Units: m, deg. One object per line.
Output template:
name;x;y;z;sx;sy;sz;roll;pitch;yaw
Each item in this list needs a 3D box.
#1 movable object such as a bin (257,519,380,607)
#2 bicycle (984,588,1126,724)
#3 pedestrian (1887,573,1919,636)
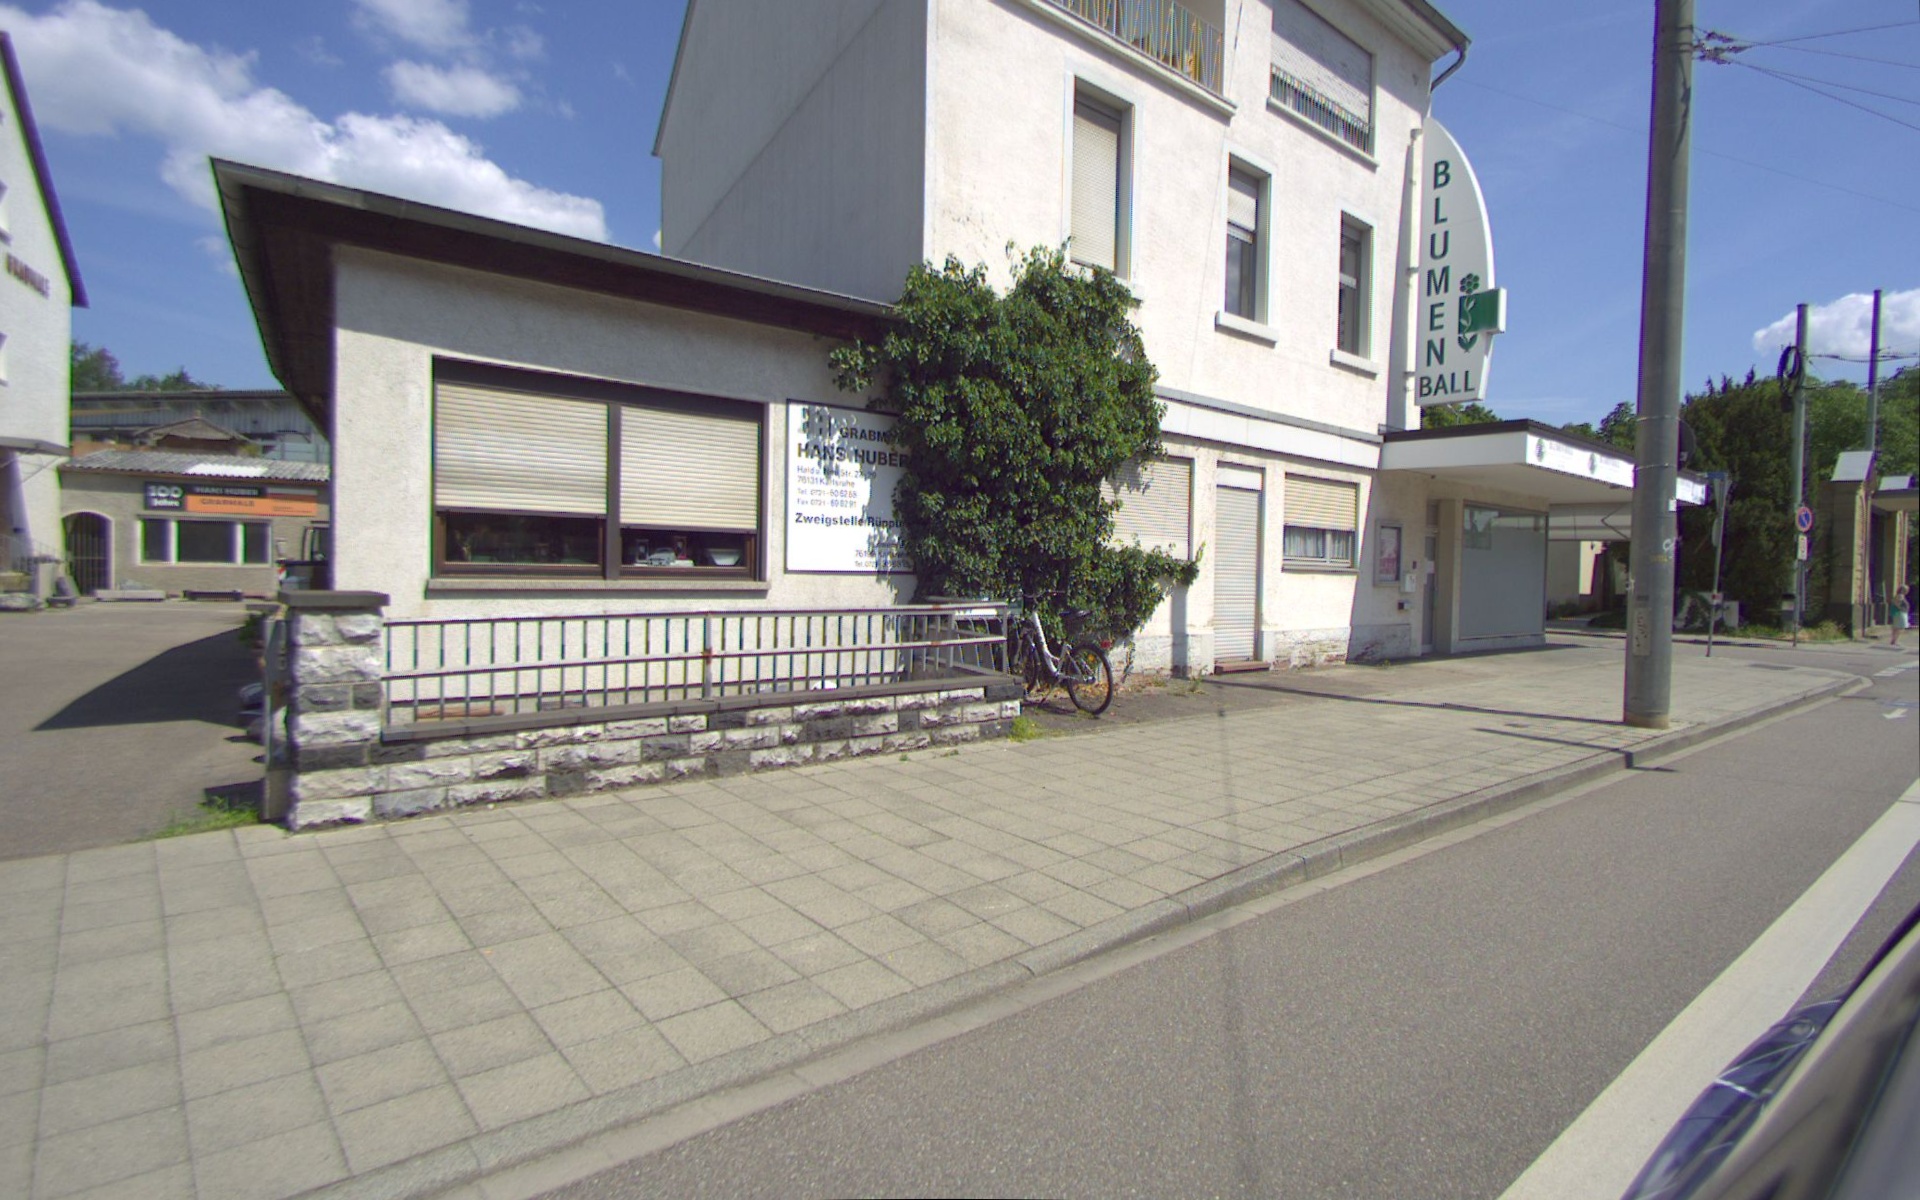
movable object such as a bin;-17.672;-1.018;28.016;2.704;2.295;2.004;0;2;-28
bicycle;0.868;0.483;9.622;0.421;1.099;1.539;0;4;-34
pedestrian;26.194;0.123;27.943;0.667;1.686;0.566;1;2;-18
